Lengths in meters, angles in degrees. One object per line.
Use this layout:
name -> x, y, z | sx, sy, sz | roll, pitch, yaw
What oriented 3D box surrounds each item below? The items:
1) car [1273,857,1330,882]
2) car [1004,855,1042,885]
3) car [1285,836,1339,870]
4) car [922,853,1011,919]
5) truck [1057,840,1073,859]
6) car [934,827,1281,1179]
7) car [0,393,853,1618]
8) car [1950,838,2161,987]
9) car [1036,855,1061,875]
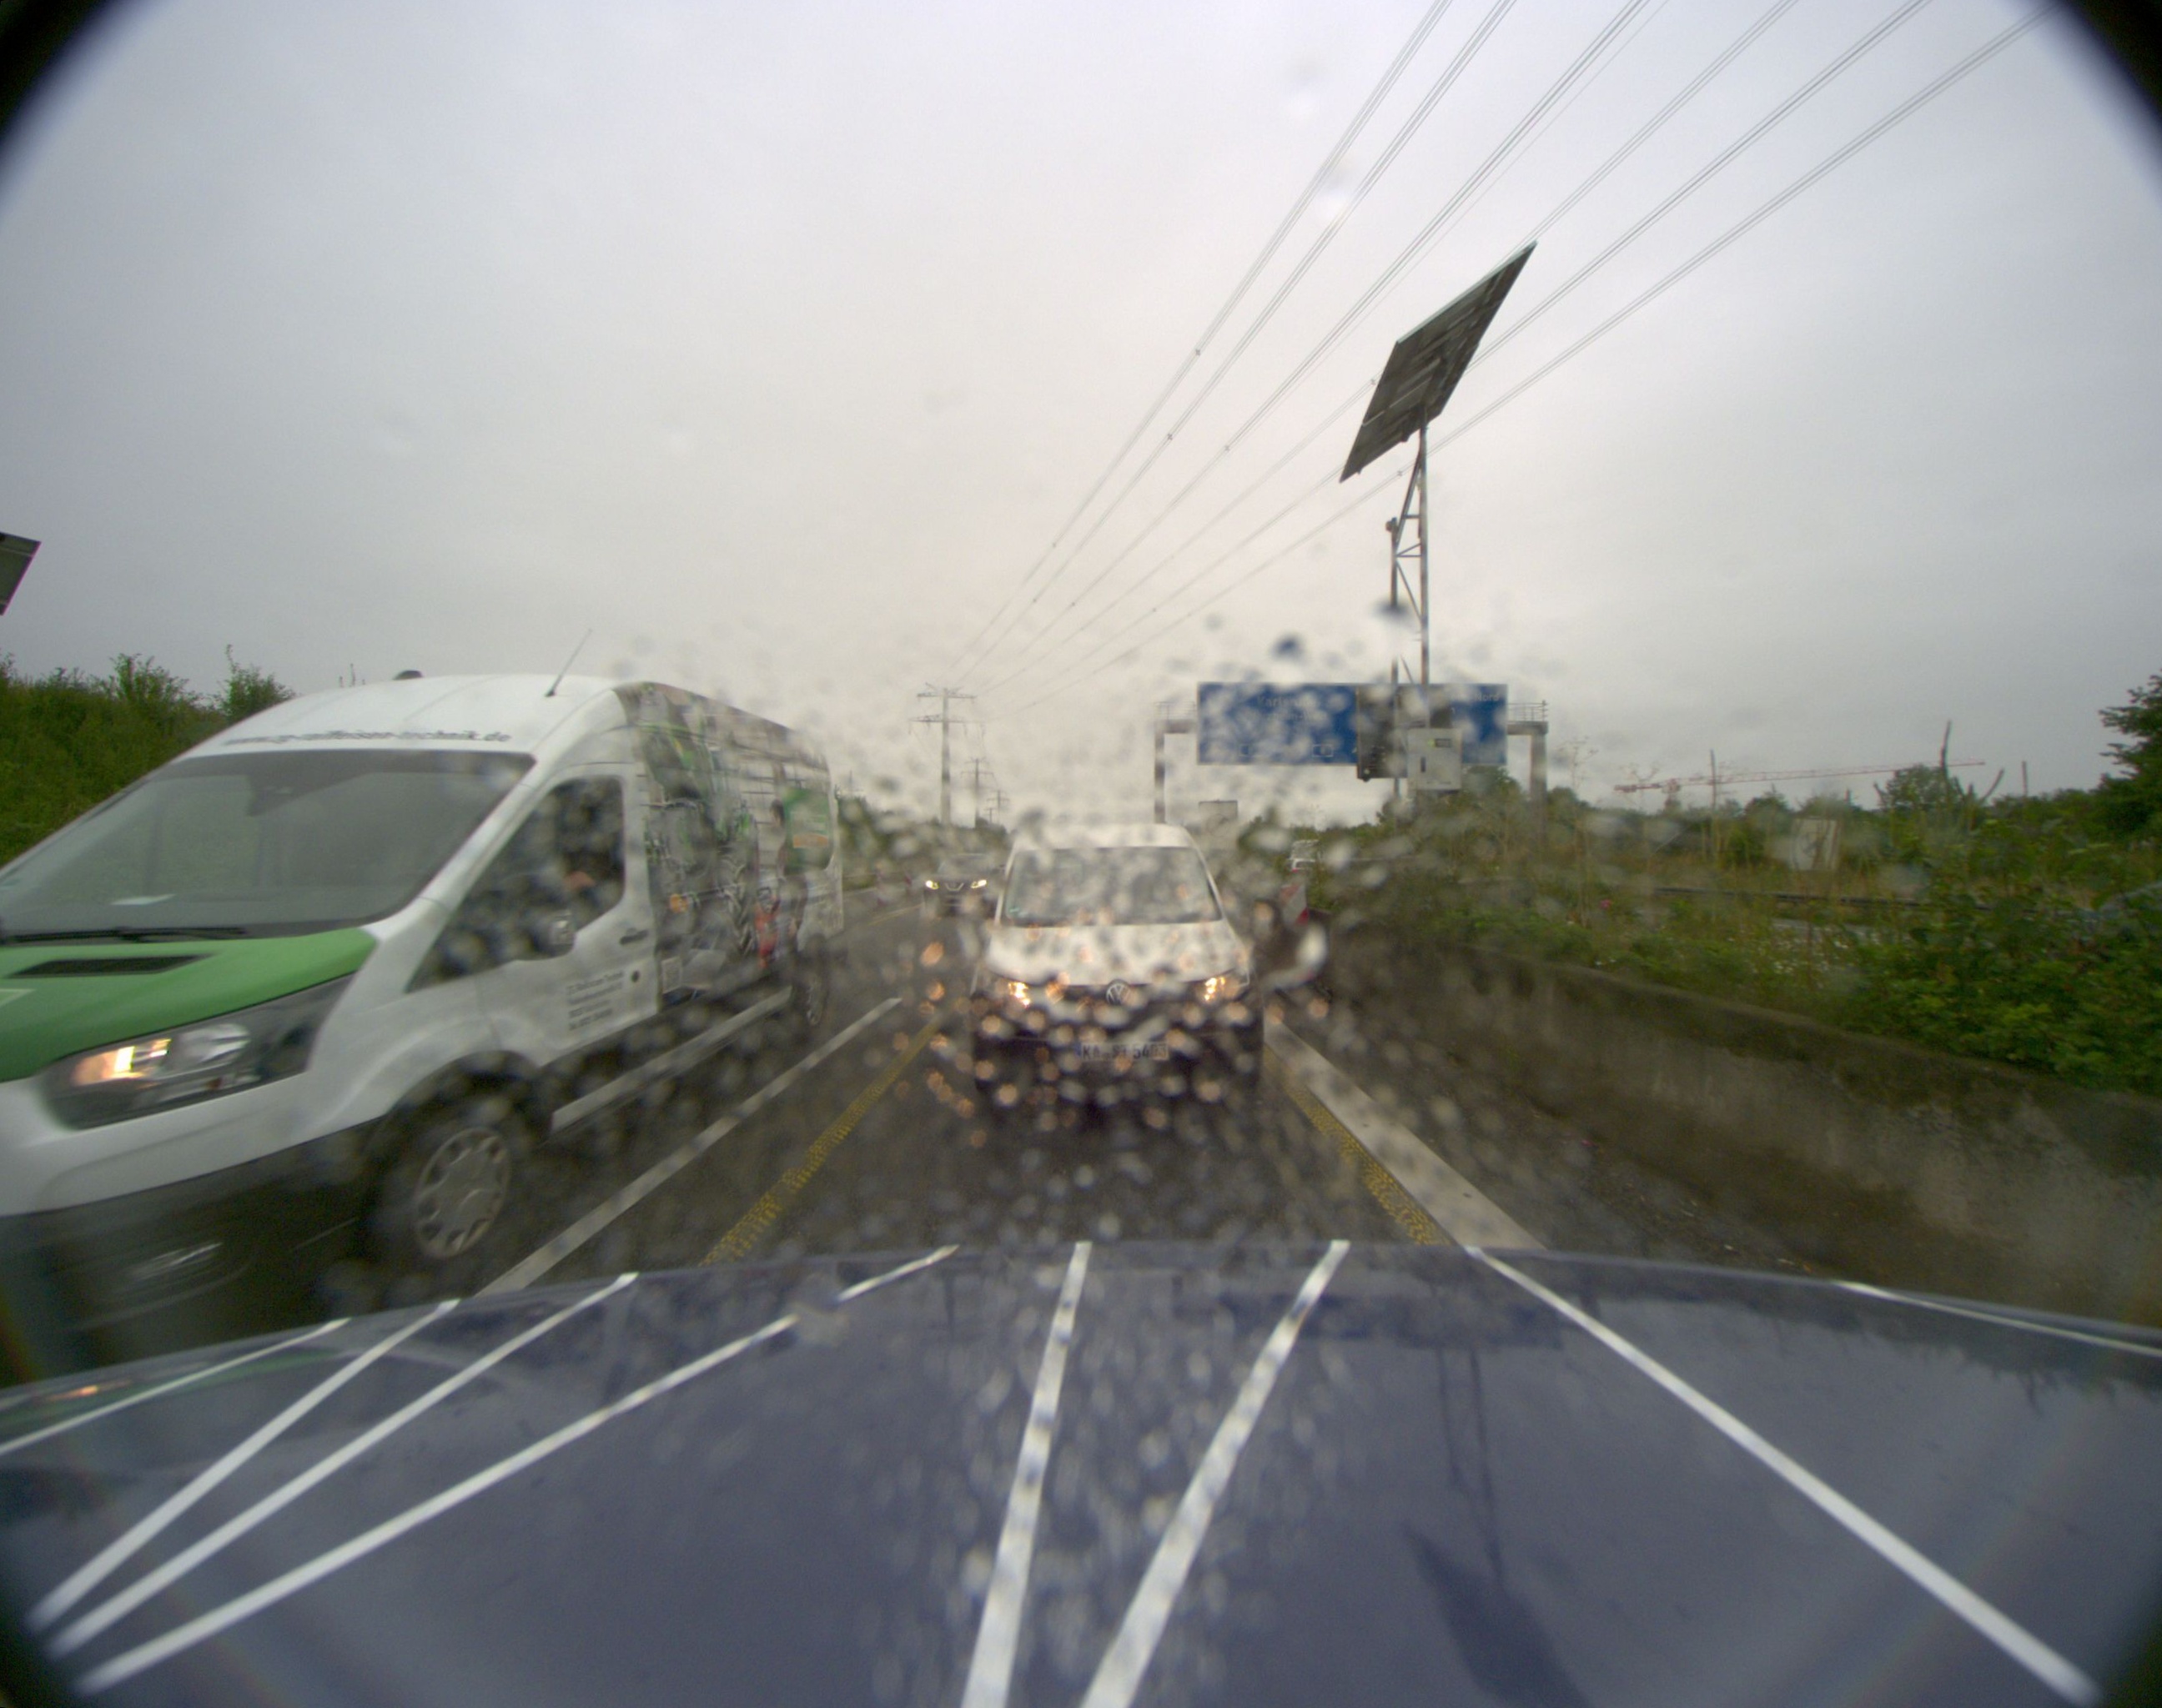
car -> 11.907, 0.811, 41.279 | 1.998, 1.184, 4.000 | -1, 0, 1
car -> -3.209, 0.837, 42.373 | 1.804, 1.523, 4.149 | -1, 0, -1
car -> 15.926, -0.079, 52.761 | 2.185, 2.252, 5.203 | -1, 0, 1
car -> -3.169, 0.834, 21.842 | 1.688, 1.649, 4.281 | -1, 0, 3
truck -> -3.426, -0.896, 164.617 | 2.875, 4.007, 8.308 | -1, 0, 1
car -> 0.165, 0.774, 6.140 | 1.768, 1.803, 4.345 | -1, 0, 1
car -> -3.272, 0.366, 4.586 | 1.998, 2.766, 5.755 | -1, 0, 0
car -> 12.219, 0.601, 7.823 | 1.998, 1.518, 4.000 | -1, 0, 1
car -> -2.503, 0.864, 58.956 | 1.804, 1.432, 4.149 | -1, 0, -1
